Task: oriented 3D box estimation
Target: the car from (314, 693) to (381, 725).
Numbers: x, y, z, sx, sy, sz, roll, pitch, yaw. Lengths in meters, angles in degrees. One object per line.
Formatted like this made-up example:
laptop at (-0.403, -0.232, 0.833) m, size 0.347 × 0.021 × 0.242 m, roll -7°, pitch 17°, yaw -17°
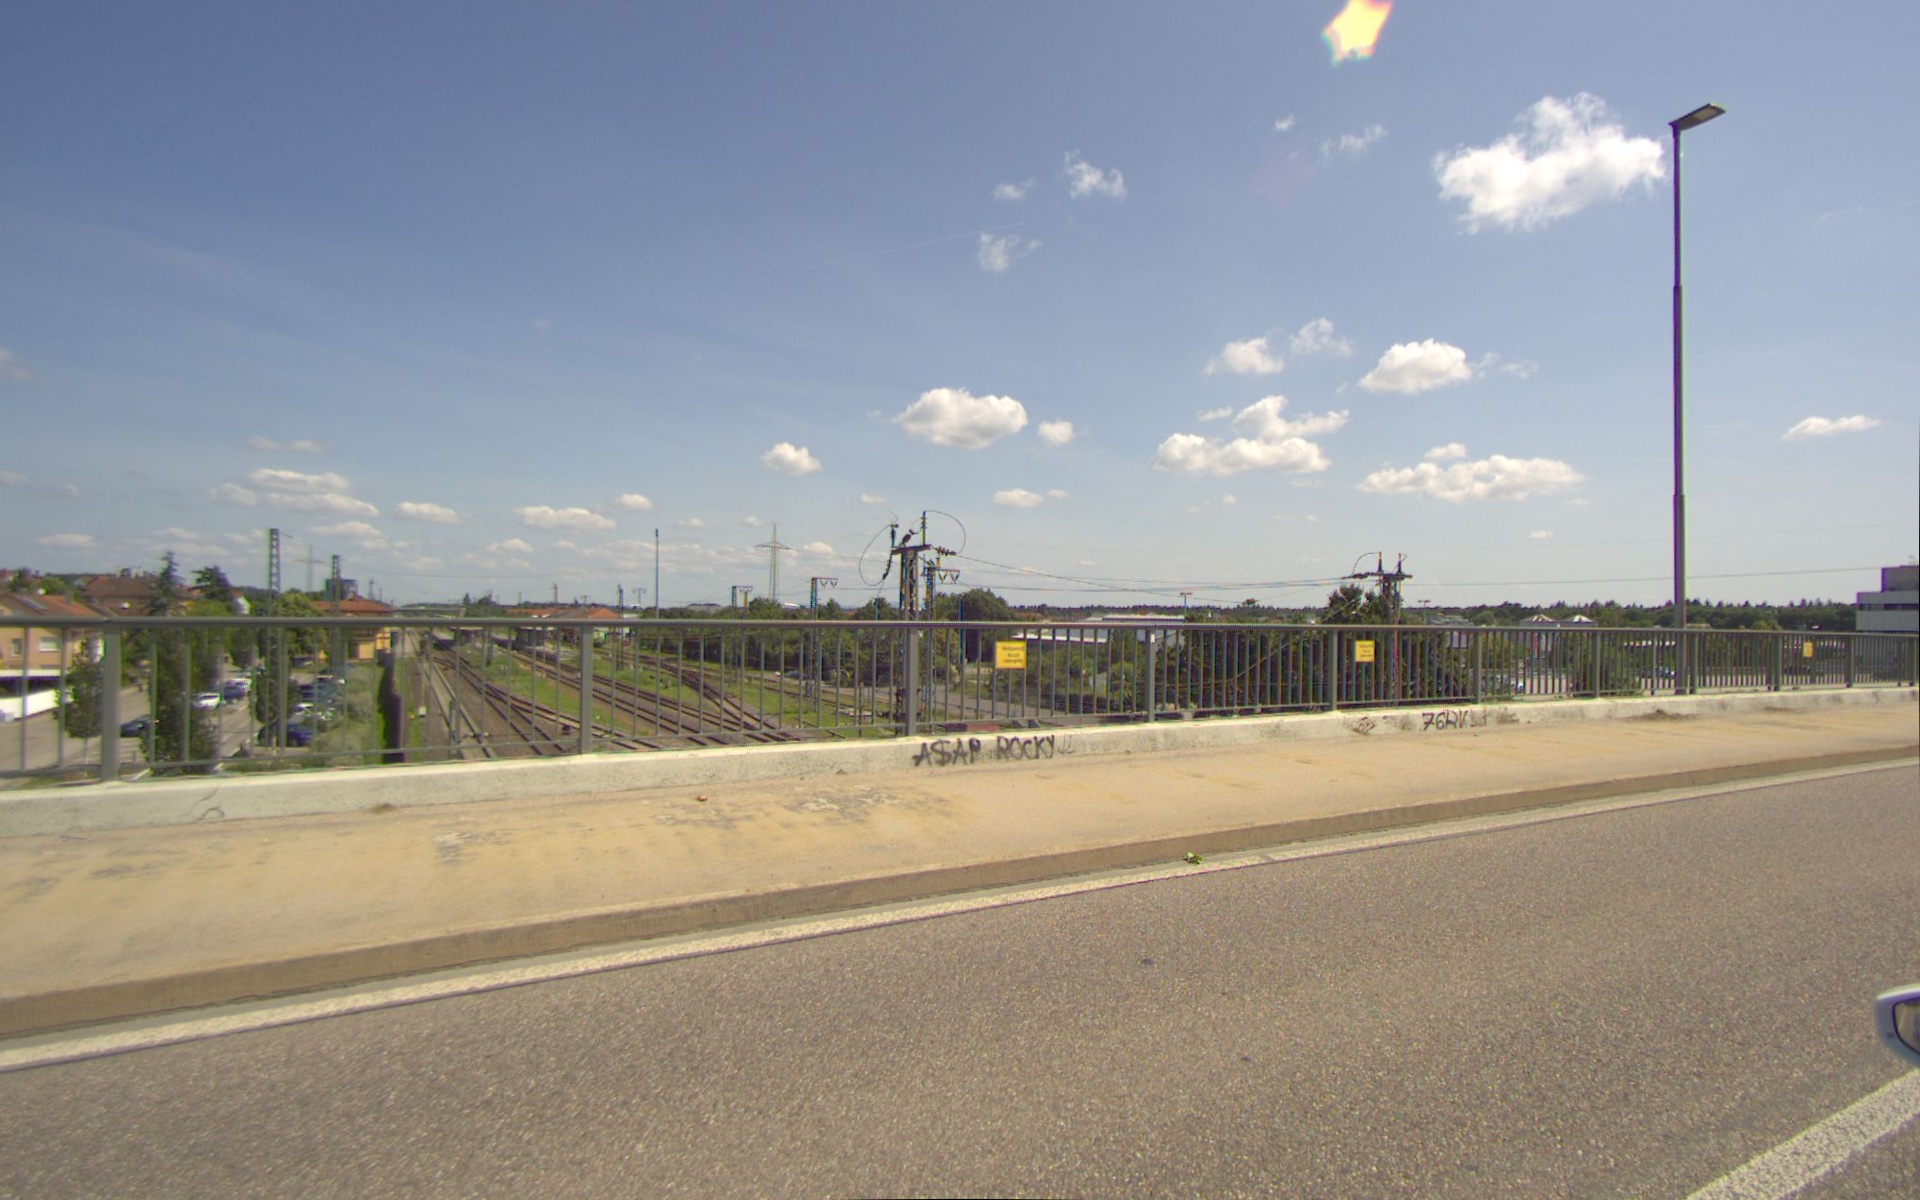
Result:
car at (-47.510, 8.434, 78.016) m, size 3.929 × 2.041 × 1.995 m, roll 3°, pitch 4°, yaw -11°

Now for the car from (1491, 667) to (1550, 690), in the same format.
car at (47.635, 6.640, 85.411) m, size 1.888 × 1.770 × 3.962 m, roll 3°, pitch -3°, yaw -35°

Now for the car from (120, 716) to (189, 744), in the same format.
car at (-56.144, 9.057, 70.038) m, size 1.837 × 1.461 × 3.617 m, roll 1°, pitch 0°, yaw 44°

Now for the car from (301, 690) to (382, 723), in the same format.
car at (-46.541, 7.984, 75.685) m, size 4.766 × 2.041 × 1.996 m, roll 3°, pitch 3°, yaw -10°

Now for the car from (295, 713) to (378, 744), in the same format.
car at (-45.137, 9.301, 72.782) m, size 4.533 × 1.623 × 2.206 m, roll 3°, pitch 4°, yaw -8°
